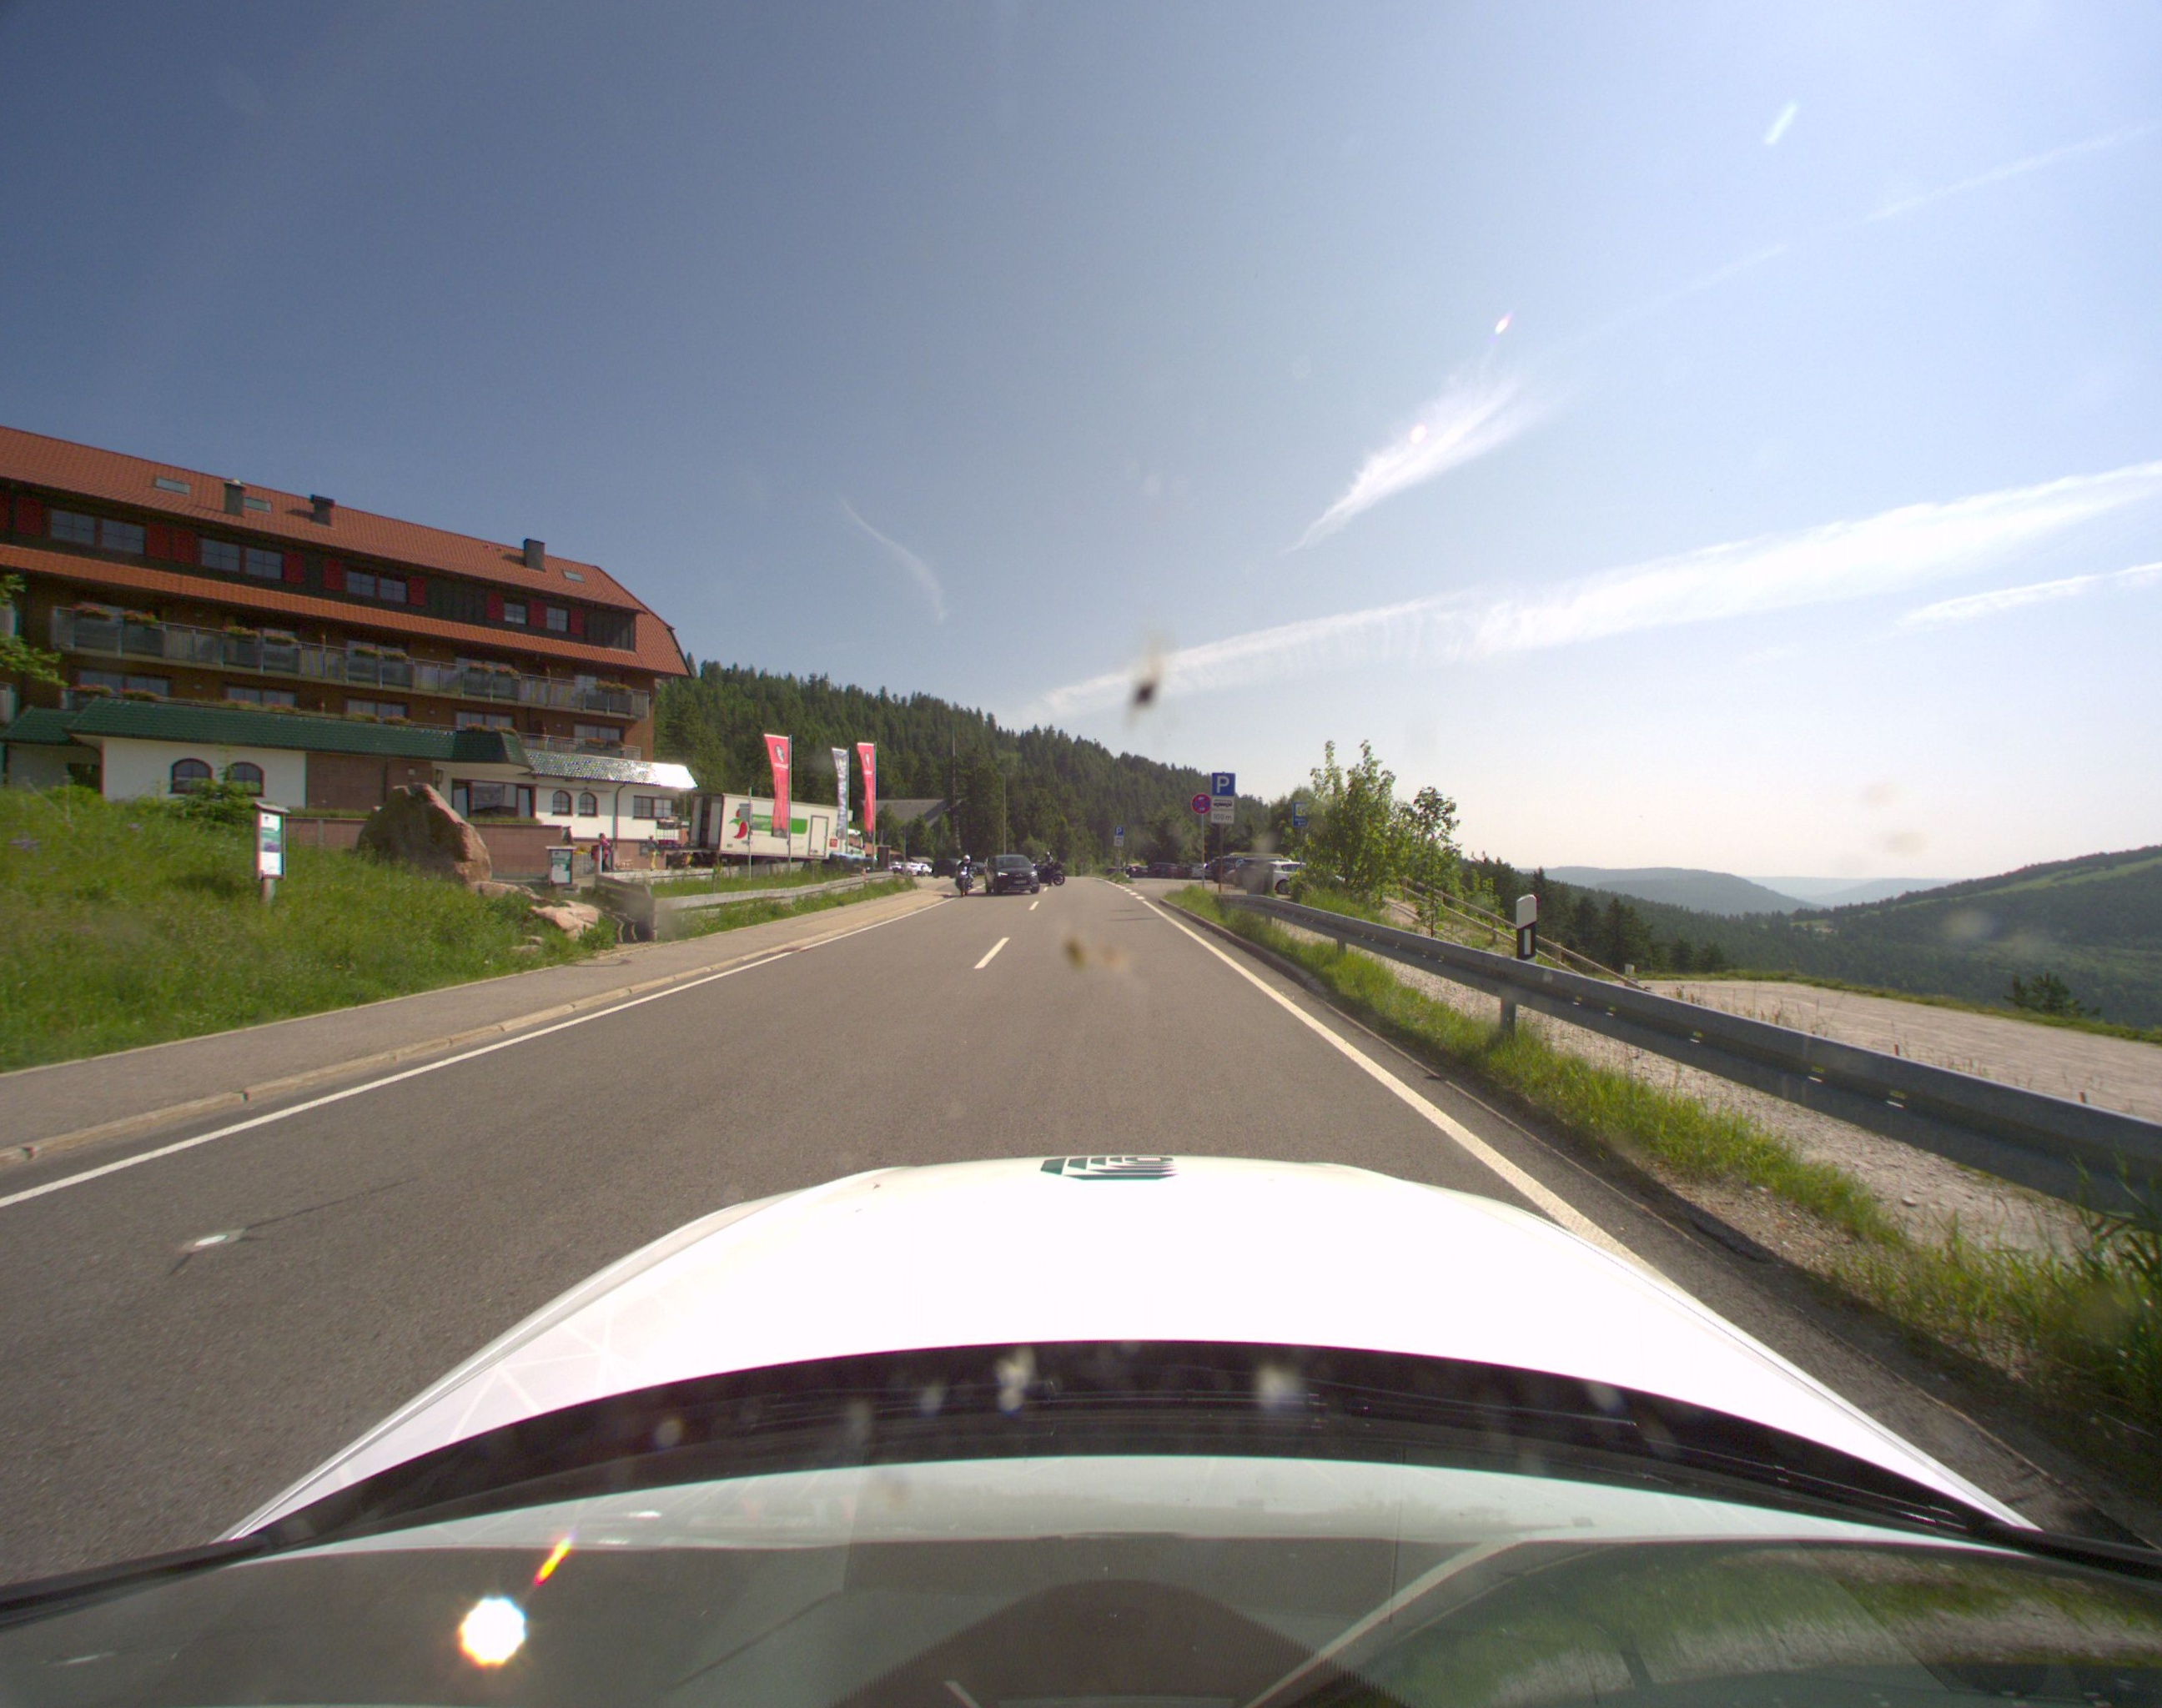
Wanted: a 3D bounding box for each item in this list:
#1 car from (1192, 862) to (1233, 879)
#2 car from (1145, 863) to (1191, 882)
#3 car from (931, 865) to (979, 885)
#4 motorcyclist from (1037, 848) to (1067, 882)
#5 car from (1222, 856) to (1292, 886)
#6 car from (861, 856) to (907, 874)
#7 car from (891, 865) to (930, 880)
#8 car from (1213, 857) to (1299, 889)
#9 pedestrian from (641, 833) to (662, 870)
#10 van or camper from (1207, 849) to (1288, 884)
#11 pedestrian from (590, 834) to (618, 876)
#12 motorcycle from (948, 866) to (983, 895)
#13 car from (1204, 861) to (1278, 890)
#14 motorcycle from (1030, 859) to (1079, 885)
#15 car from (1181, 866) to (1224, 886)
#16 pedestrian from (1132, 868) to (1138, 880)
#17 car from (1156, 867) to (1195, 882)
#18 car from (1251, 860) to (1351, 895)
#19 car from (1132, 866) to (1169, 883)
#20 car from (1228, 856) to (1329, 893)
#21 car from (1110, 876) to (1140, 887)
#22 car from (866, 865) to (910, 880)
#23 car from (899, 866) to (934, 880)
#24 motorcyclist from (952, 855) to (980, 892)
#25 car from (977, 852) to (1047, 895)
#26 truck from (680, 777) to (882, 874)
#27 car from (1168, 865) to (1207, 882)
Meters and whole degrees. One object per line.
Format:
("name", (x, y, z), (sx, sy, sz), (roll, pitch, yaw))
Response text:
("car", (13.107, 1.648, 80.944), (4.019, 1.476, 1.747), (5, -3, -39))
("car", (9.875, 2.137, 92.313), (4.774, 1.880, 1.952), (4, -2, -21))
("car", (-10.181, 1.666, 65.684), (1.818, 1.540, 4.141), (0, -1, -44))
("motorcyclist", (-1.477, 0.550, 40.894), (1.298, 1.641, 0.877), (-1, -1, -17))
("car", (9.986, 0.946, 46.295), (3.570, 1.496, 1.647), (3, 0, -1))
("car", (-19.321, 1.108, 79.885), (4.021, 1.704, 1.804), (0, -1, -42))
("car", (-19.989, 2.160, 95.469), (1.975, 1.574, 4.024), (-2, -1, 43))
("car", (9.232, 1.005, 43.089), (3.989, 1.510, 1.835), (2, 0, -11))
("pedestrian", (-19.640, -0.112, 37.231), (0.568, 1.689, 0.657), (-1, -1, 34))
("van or camper", (11.189, 0.824, 54.923), (5.070, 2.014, 1.883), (3, -1, 2))
("pedestrian", (-19.902, 0.056, 33.971), (0.690, 1.716, 0.803), (-1, -1, 34))
("motorcycle", (-4.645, 1.070, 32.660), (0.842, 1.096, 2.166), (-2, -1, -22))
("car", (9.565, 1.291, 48.895), (3.983, 1.614, 1.912), (2, -1, -7))
("motorcycle", (-1.334, 0.886, 40.899), (2.325, 1.265, 0.809), (-1, -1, -17))
("car", (12.451, 2.261, 83.237), (4.294, 1.695, 1.968), (5, -3, -39))
("pedestrian", (6.413, 2.333, 96.975), (0.770, 1.403, 0.670), (0, -1, 4))
("car", (10.386, 2.301, 89.735), (4.010, 1.415, 1.728), (4, -2, -29))
("car", (9.918, 1.033, 36.798), (3.989, 1.386, 1.650), (3, -1, -12))
("car", (8.425, 2.471, 98.644), (4.009, 1.662, 1.982), (7, -4, -28))
("car", (9.616, 0.997, 39.775), (4.400, 1.568, 1.900), (3, -1, -13))
("car", (6.894, 4.293, 127.778), (4.465, 1.299, 1.572), (6, -3, -18))
("car", (-19.692, 1.871, 83.124), (4.021, 1.371, 1.791), (0, -1, -41))
("car", (-20.514, 2.374, 101.516), (1.754, 1.672, 4.055), (-3, -2, 42))
("motorcyclist", (-4.615, 0.779, 32.627), (0.842, 1.441, 0.998), (-2, -1, -22))
("car", (-2.928, 0.780, 33.614), (1.985, 1.616, 4.124), (-2, 0, -18))
("truck", (-14.307, -1.186, 39.761), (3.031, 3.972, 8.825), (2, -1, 36))
("car", (11.361, 2.095, 86.988), (4.019, 1.590, 1.842), (5, -3, -39))
